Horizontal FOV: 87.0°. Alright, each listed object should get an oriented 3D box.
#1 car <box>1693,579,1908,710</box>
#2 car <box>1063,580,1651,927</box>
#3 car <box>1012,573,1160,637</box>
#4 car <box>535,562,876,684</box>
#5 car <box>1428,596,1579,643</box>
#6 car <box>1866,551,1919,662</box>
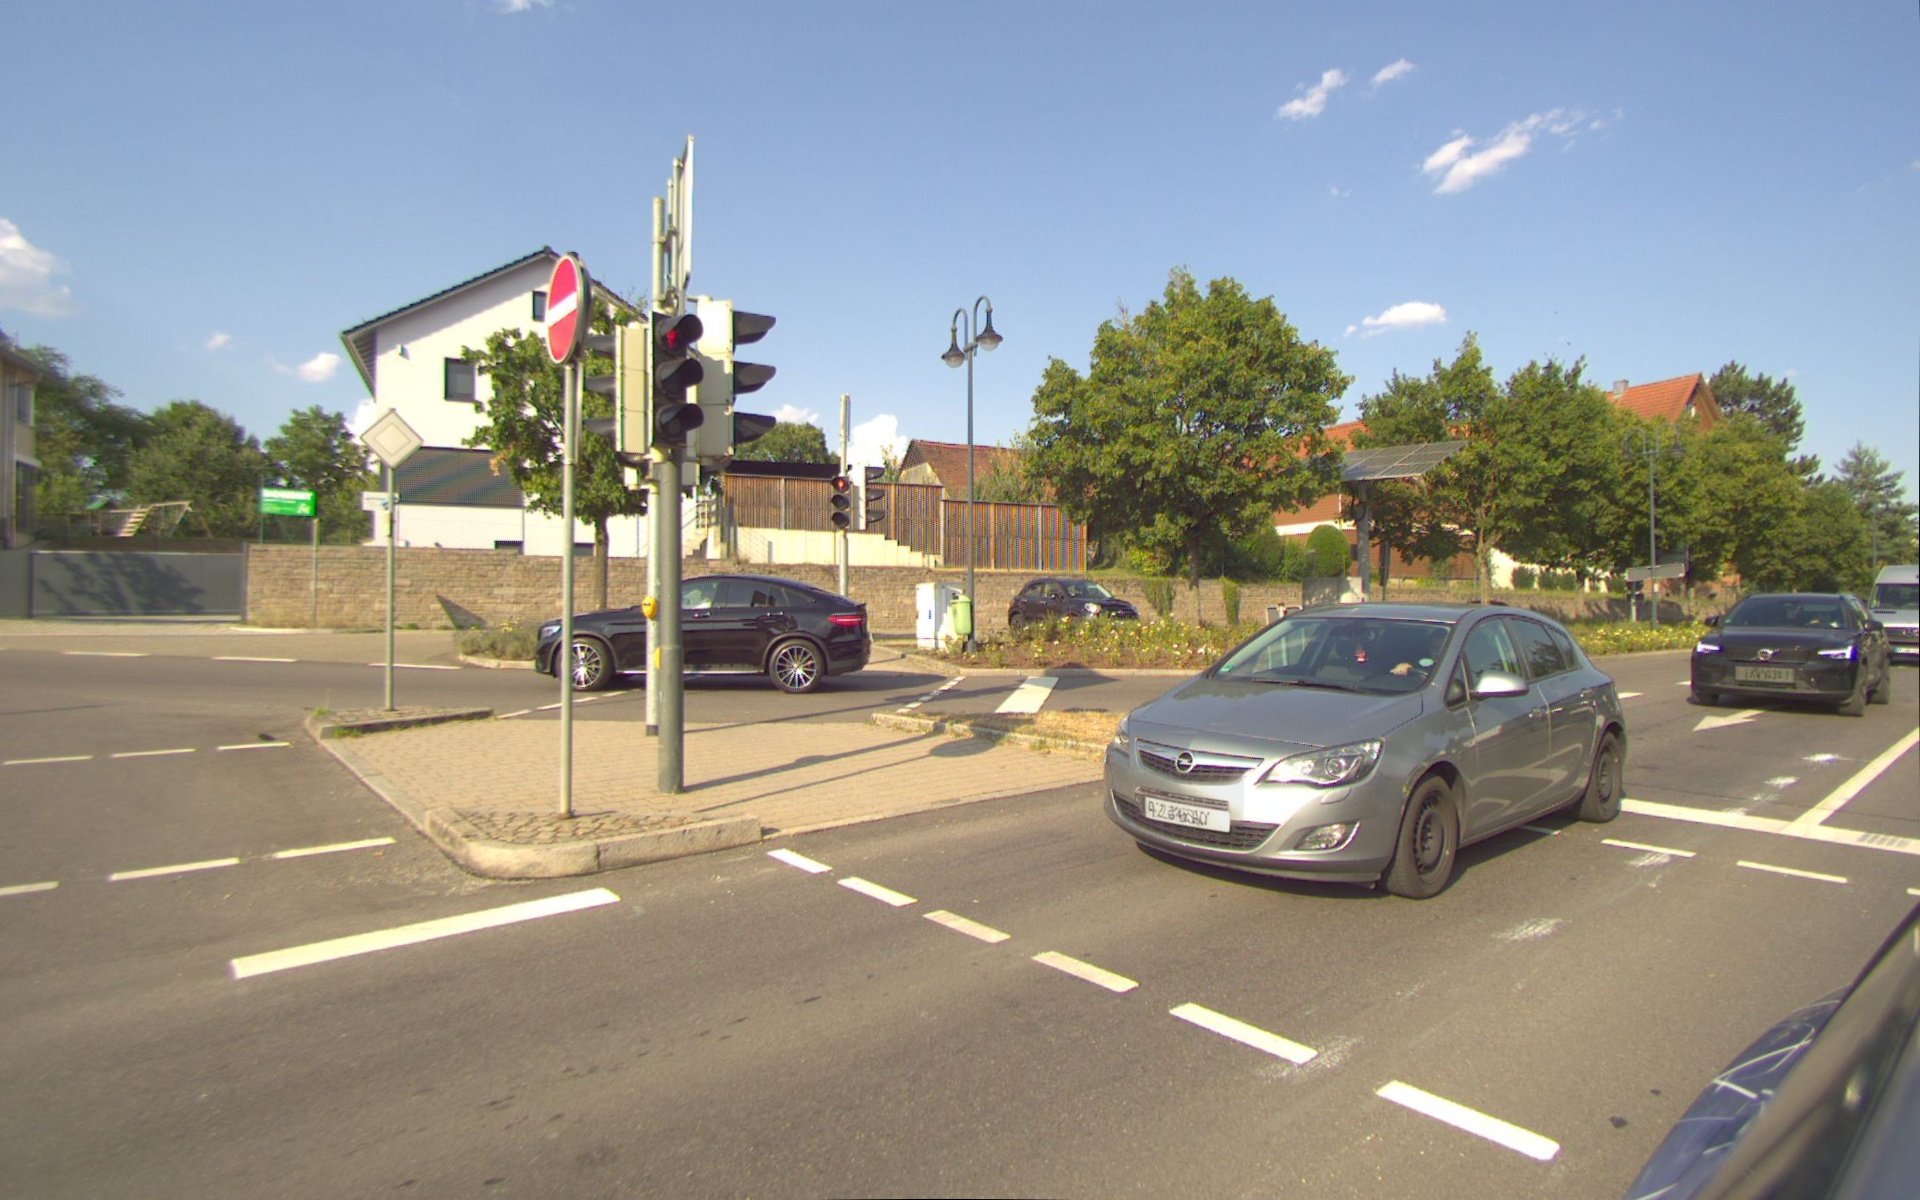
[{"bbox_3d":[12.157,0.555,14.559,3.986,1.626,1.790,0,0,-41],"label":"car"},{"bbox_3d":[2.644,0.647,6.227,4.070,1.440,1.651,1,1,-41],"label":"car"},{"bbox_3d":[3.049,0.109,25.351,1.644,1.475,4.085,0,0,-28],"label":"car"},{"bbox_3d":[-3.404,0.309,14.242,4.406,1.586,1.846,0,-1,-3],"label":"car"},{"bbox_3d":[17.582,0.592,32.917,1.714,1.449,4.002,0,0,-33],"label":"car"},{"bbox_3d":[25.673,0.144,26.713,6.537,2.691,2.037,0,1,-43],"label":"car"}]
